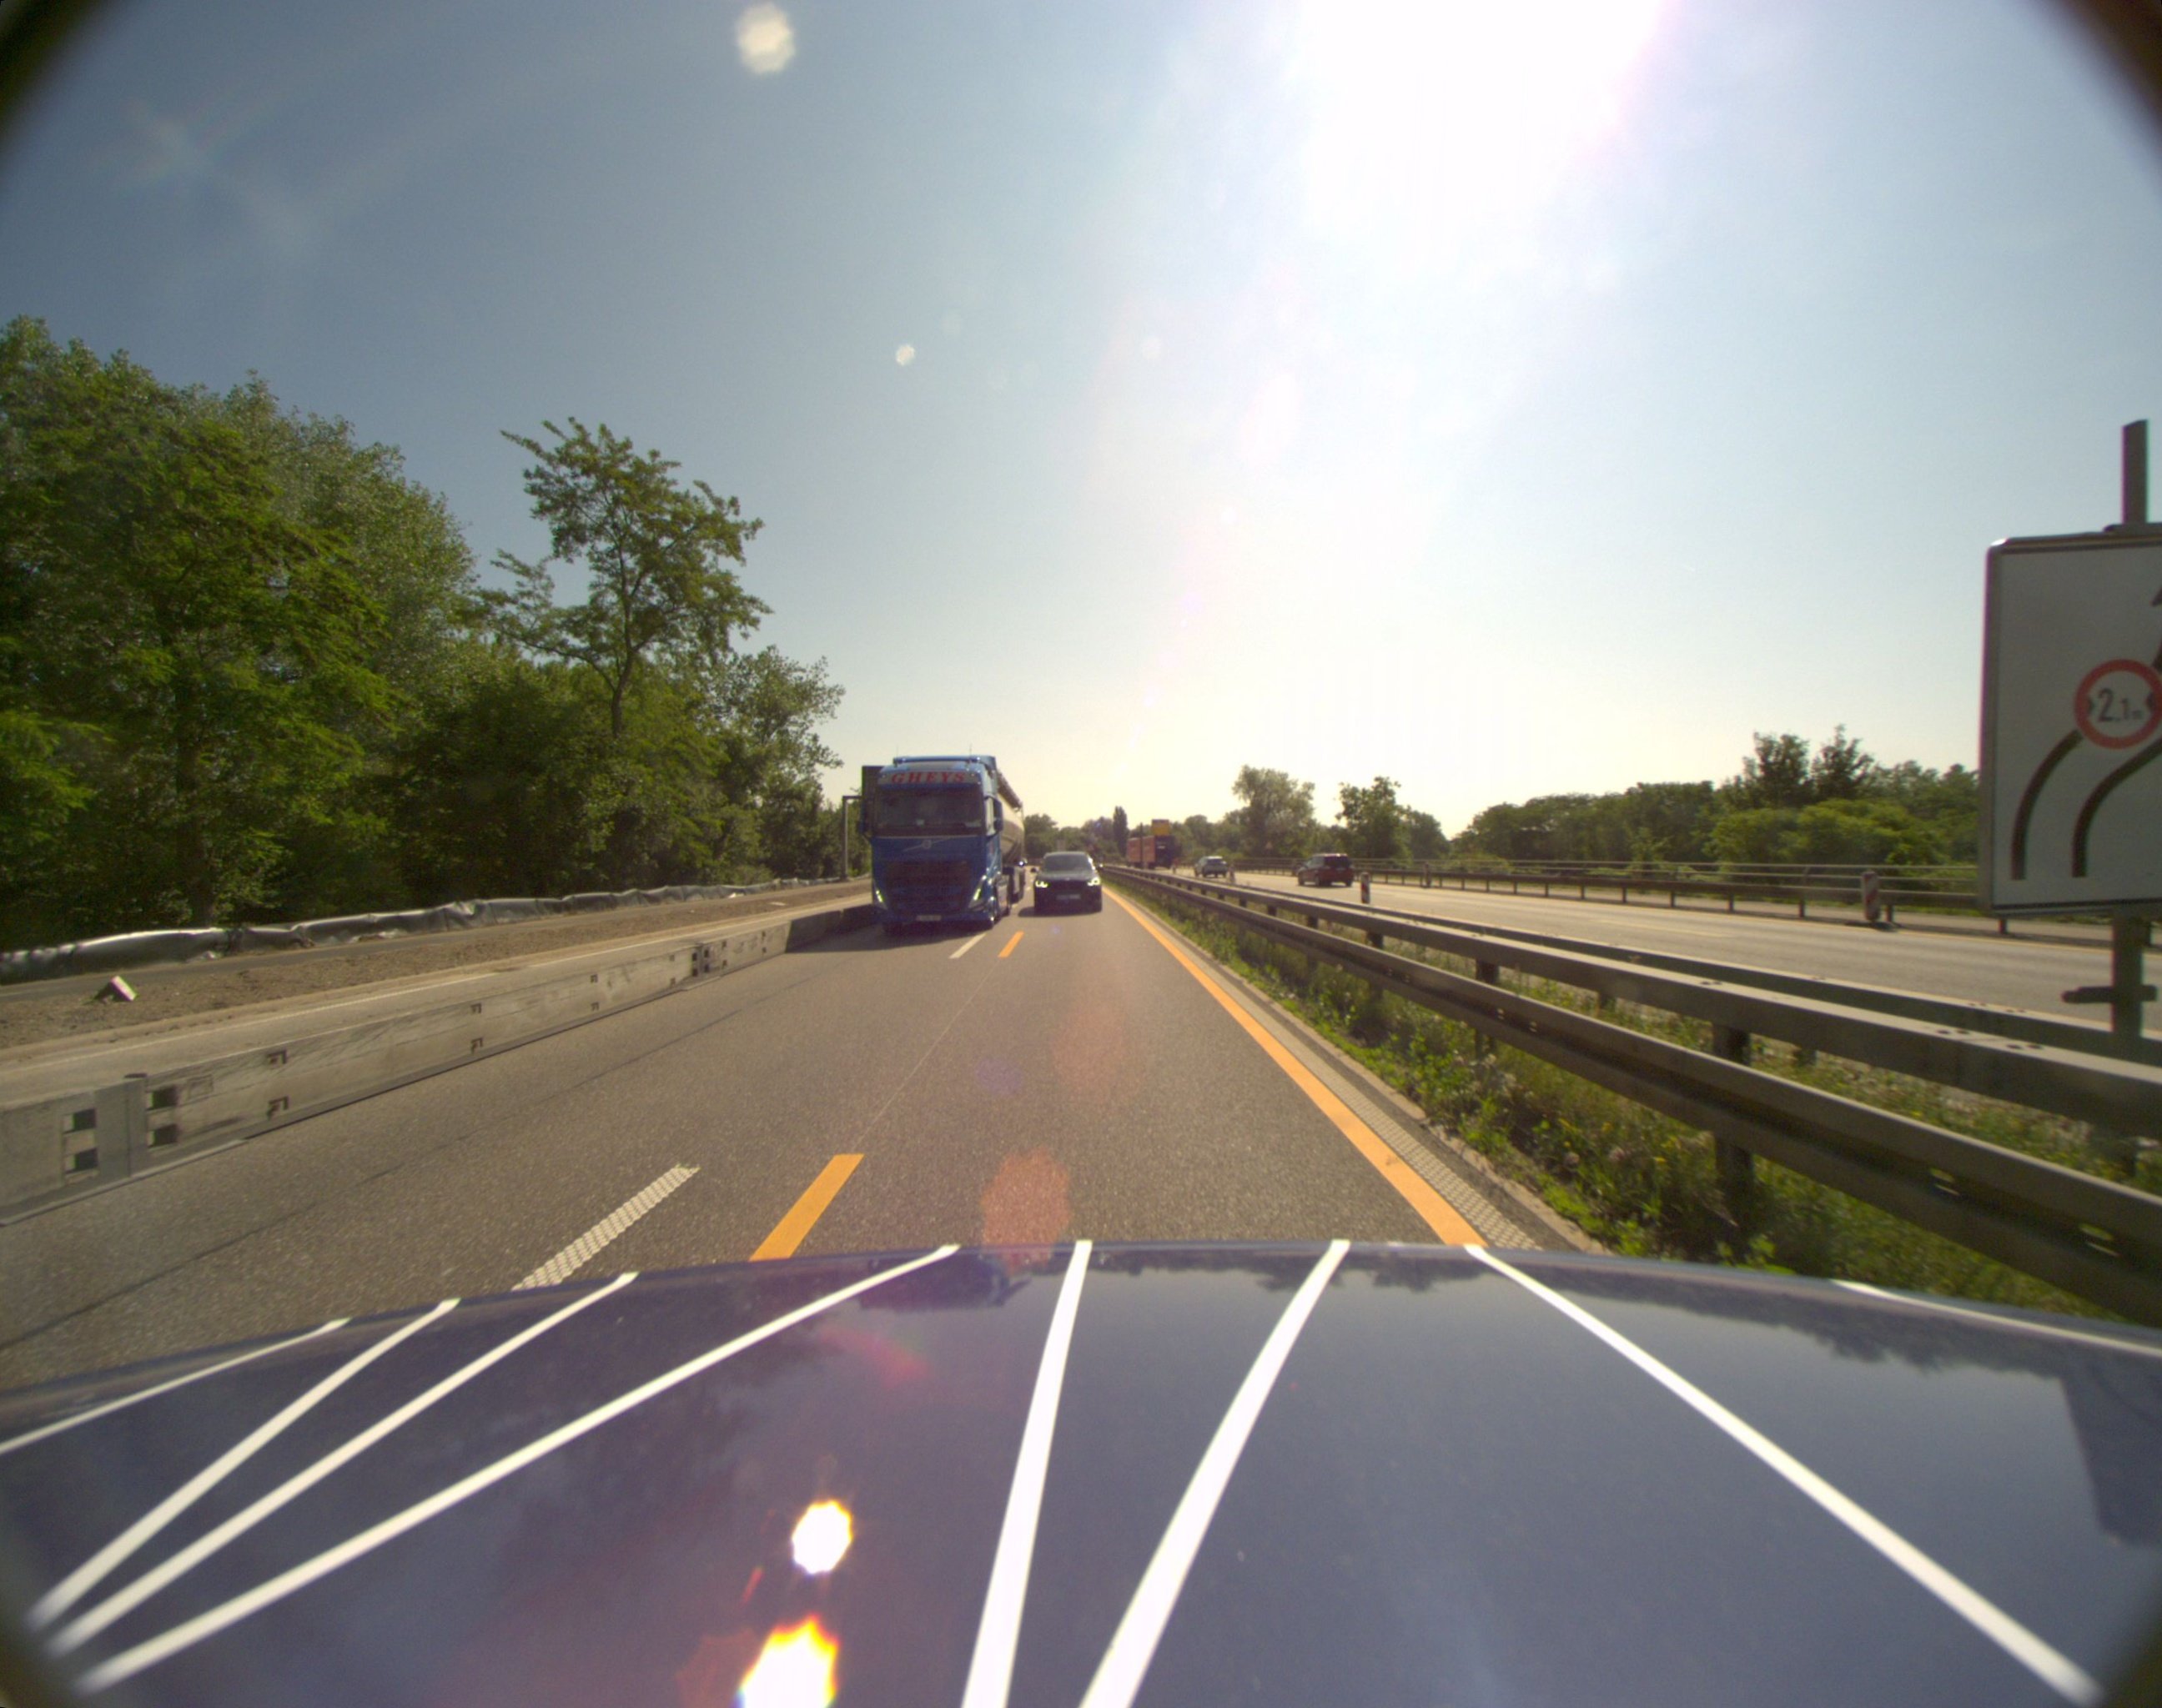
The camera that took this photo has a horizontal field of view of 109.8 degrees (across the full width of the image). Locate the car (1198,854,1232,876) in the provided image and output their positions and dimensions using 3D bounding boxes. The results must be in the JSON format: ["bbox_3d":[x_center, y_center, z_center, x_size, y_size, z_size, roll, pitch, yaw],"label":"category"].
[{"bbox_3d":[10.534,0.850,59.931,1.914,1.641,4.376,0,0,1],"label":"car"}]

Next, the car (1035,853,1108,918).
[{"bbox_3d":[-0.383,0.817,22.260,1.790,1.651,4.484,-2,0,-5],"label":"car"}]

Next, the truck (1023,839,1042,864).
[{"bbox_3d":[-7.857,-0.380,122.822,2.862,3.961,8.661,1,0,-5],"label":"truck"}]

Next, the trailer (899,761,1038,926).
[{"bbox_3d":[-3.201,-0.228,25.475,2.701,4.113,12.614,1,0,0],"label":"trailer"}]

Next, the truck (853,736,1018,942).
[{"bbox_3d":[-3.209,-0.280,18.874,2.701,4.078,7.300,1,0,-1],"label":"truck"}]

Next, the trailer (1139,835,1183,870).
[{"bbox_3d":[9.829,-0.131,94.485,3.047,4.067,9.781,-2,0,-8],"label":"trailer"}]

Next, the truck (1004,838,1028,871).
[{"bbox_3d":[-8.337,0.096,97.111,2.862,3.961,8.661,1,0,-5],"label":"truck"}]

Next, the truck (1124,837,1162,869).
[{"bbox_3d":[8.463,-0.151,104.624,3.047,4.067,10.617,-2,0,-7],"label":"truck"}]

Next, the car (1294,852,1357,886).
[{"bbox_3d":[13.387,0.765,41.854,1.914,1.724,5.020,-1,0,1],"label":"car"}]
